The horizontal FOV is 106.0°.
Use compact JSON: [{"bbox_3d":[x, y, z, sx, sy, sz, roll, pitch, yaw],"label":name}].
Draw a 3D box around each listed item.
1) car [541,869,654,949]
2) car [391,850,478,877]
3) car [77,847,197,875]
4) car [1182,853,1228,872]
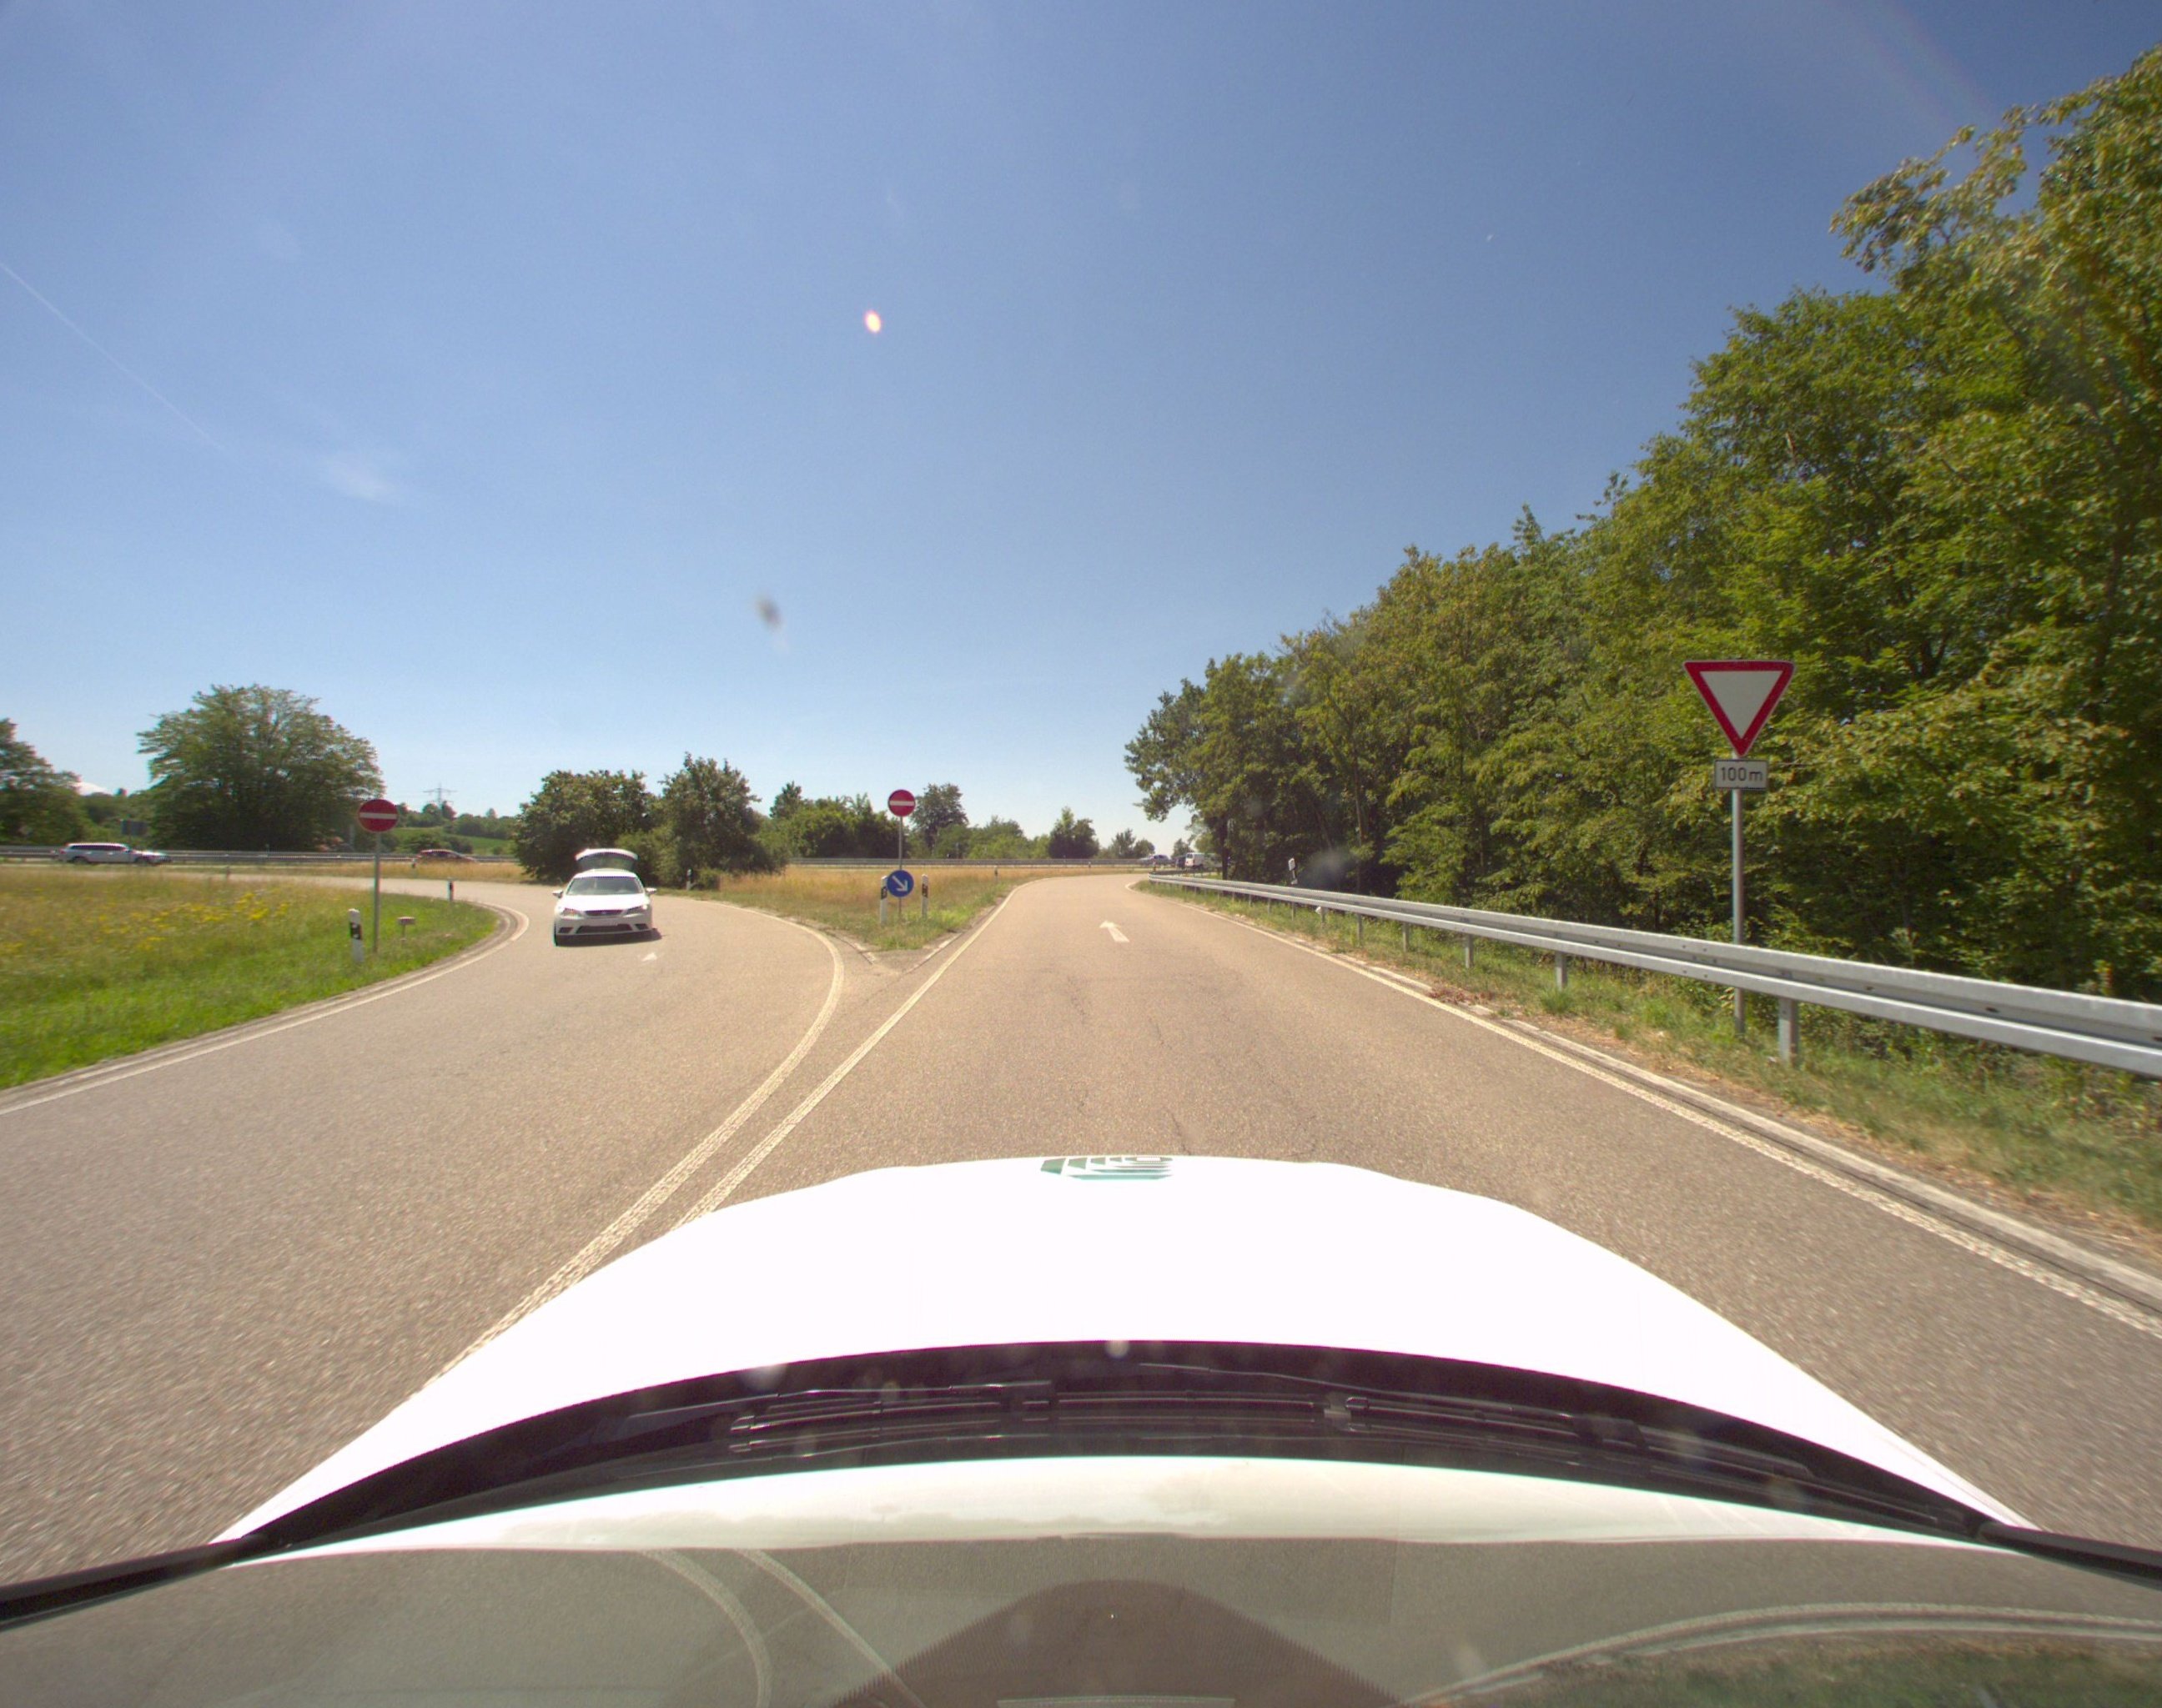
[{"bbox_3d":[-10.543,1.108,18.033,1.857,1.424,4.111,-2,1,-27],"label":"car"},{"bbox_3d":[-47.134,0.721,59.470,4.535,1.790,1.983,2,-2,-25],"label":"car"},{"bbox_3d":[-62.422,0.476,54.000,4.804,1.790,1.979,0,0,-34],"label":"car"},{"bbox_3d":[13.768,0.928,90.311,4.827,1.928,1.983,2,-2,-25],"label":"car"}]
